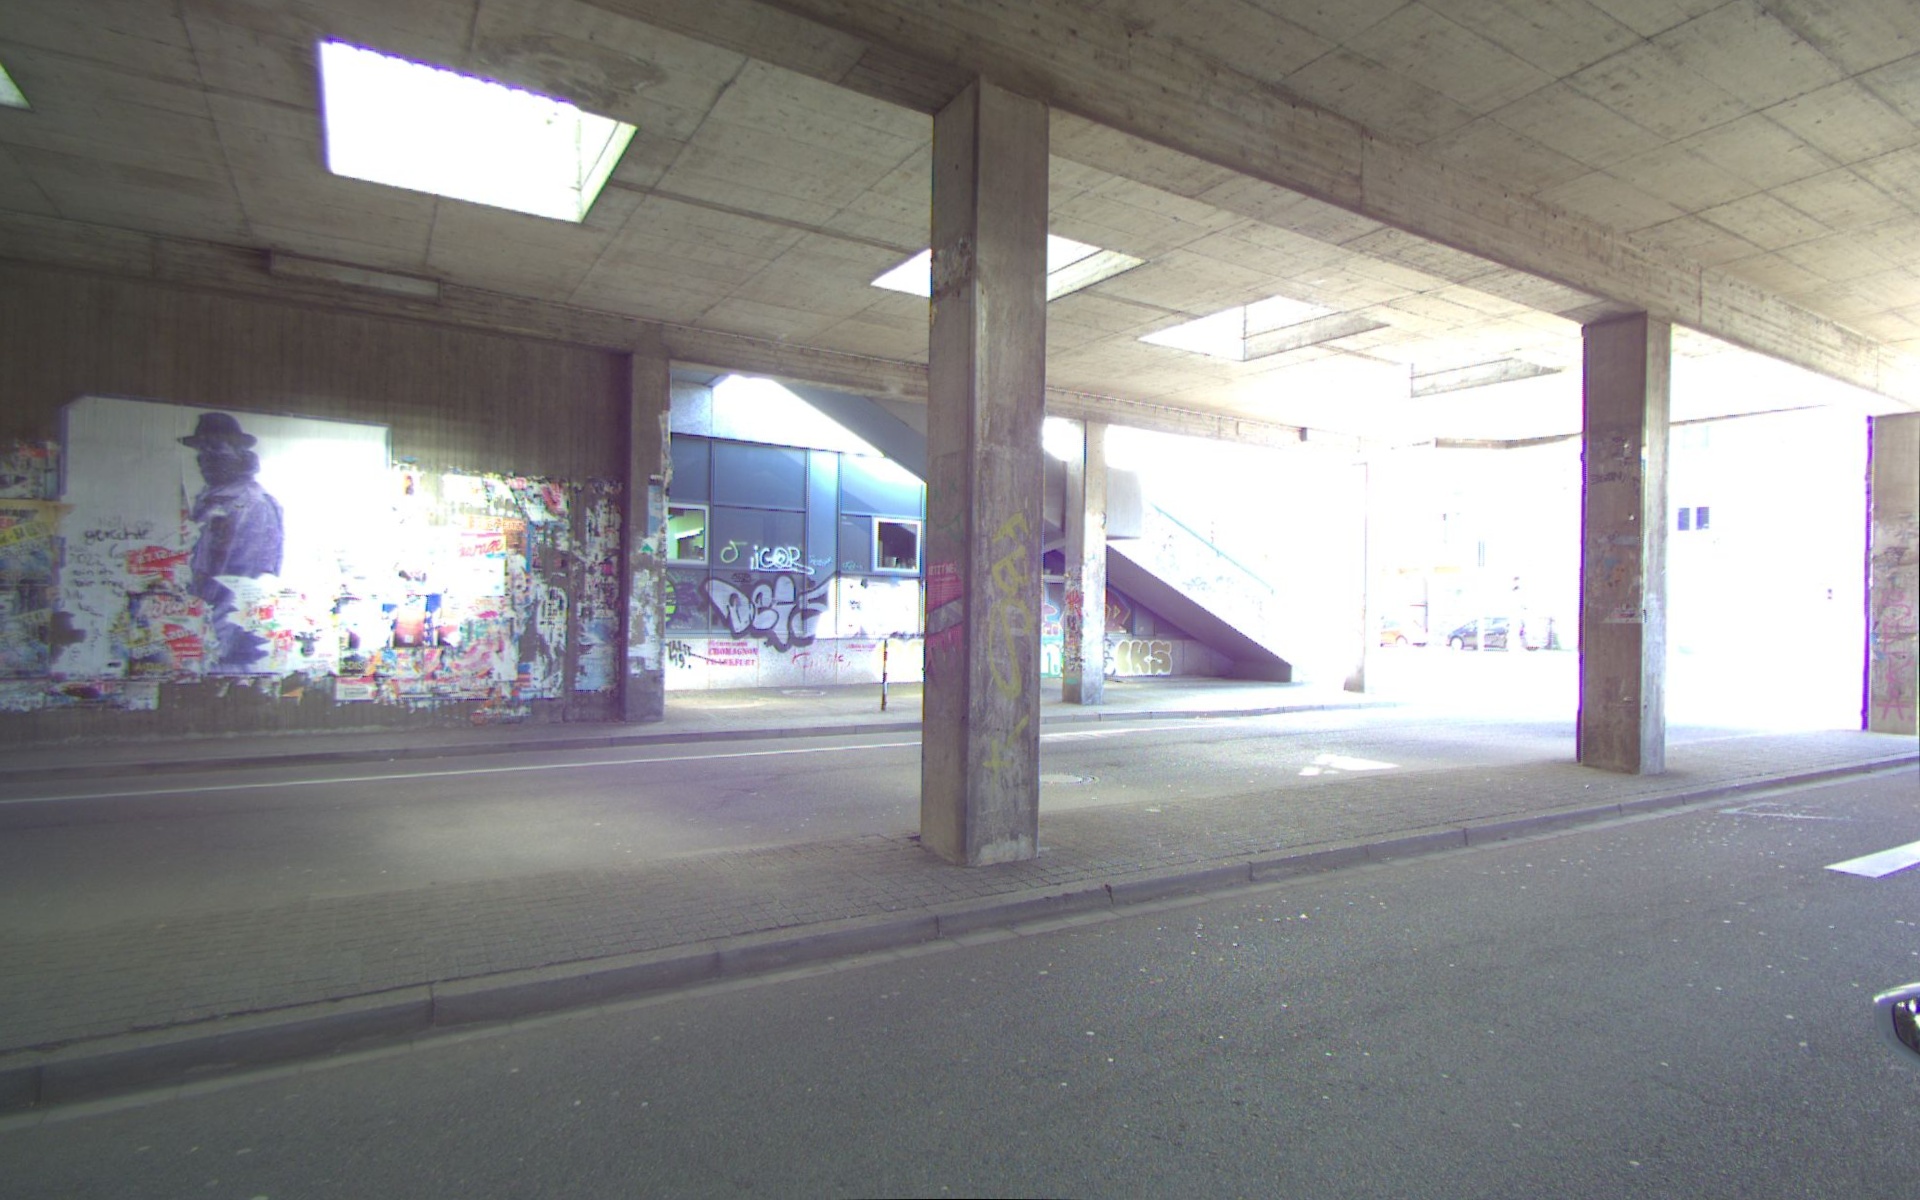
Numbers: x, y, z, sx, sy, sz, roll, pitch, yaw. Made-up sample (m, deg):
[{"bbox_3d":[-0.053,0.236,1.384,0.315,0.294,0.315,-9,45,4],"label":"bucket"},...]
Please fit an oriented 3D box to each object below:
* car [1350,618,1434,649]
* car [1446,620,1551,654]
[{"bbox_3d":[22.561,1.756,52.605,1.730,1.495,3.741,2,-1,-31],"label":"car"},{"bbox_3d":[25.473,1.733,47.650,1.718,1.495,4.089,2,-1,-31],"label":"car"}]
